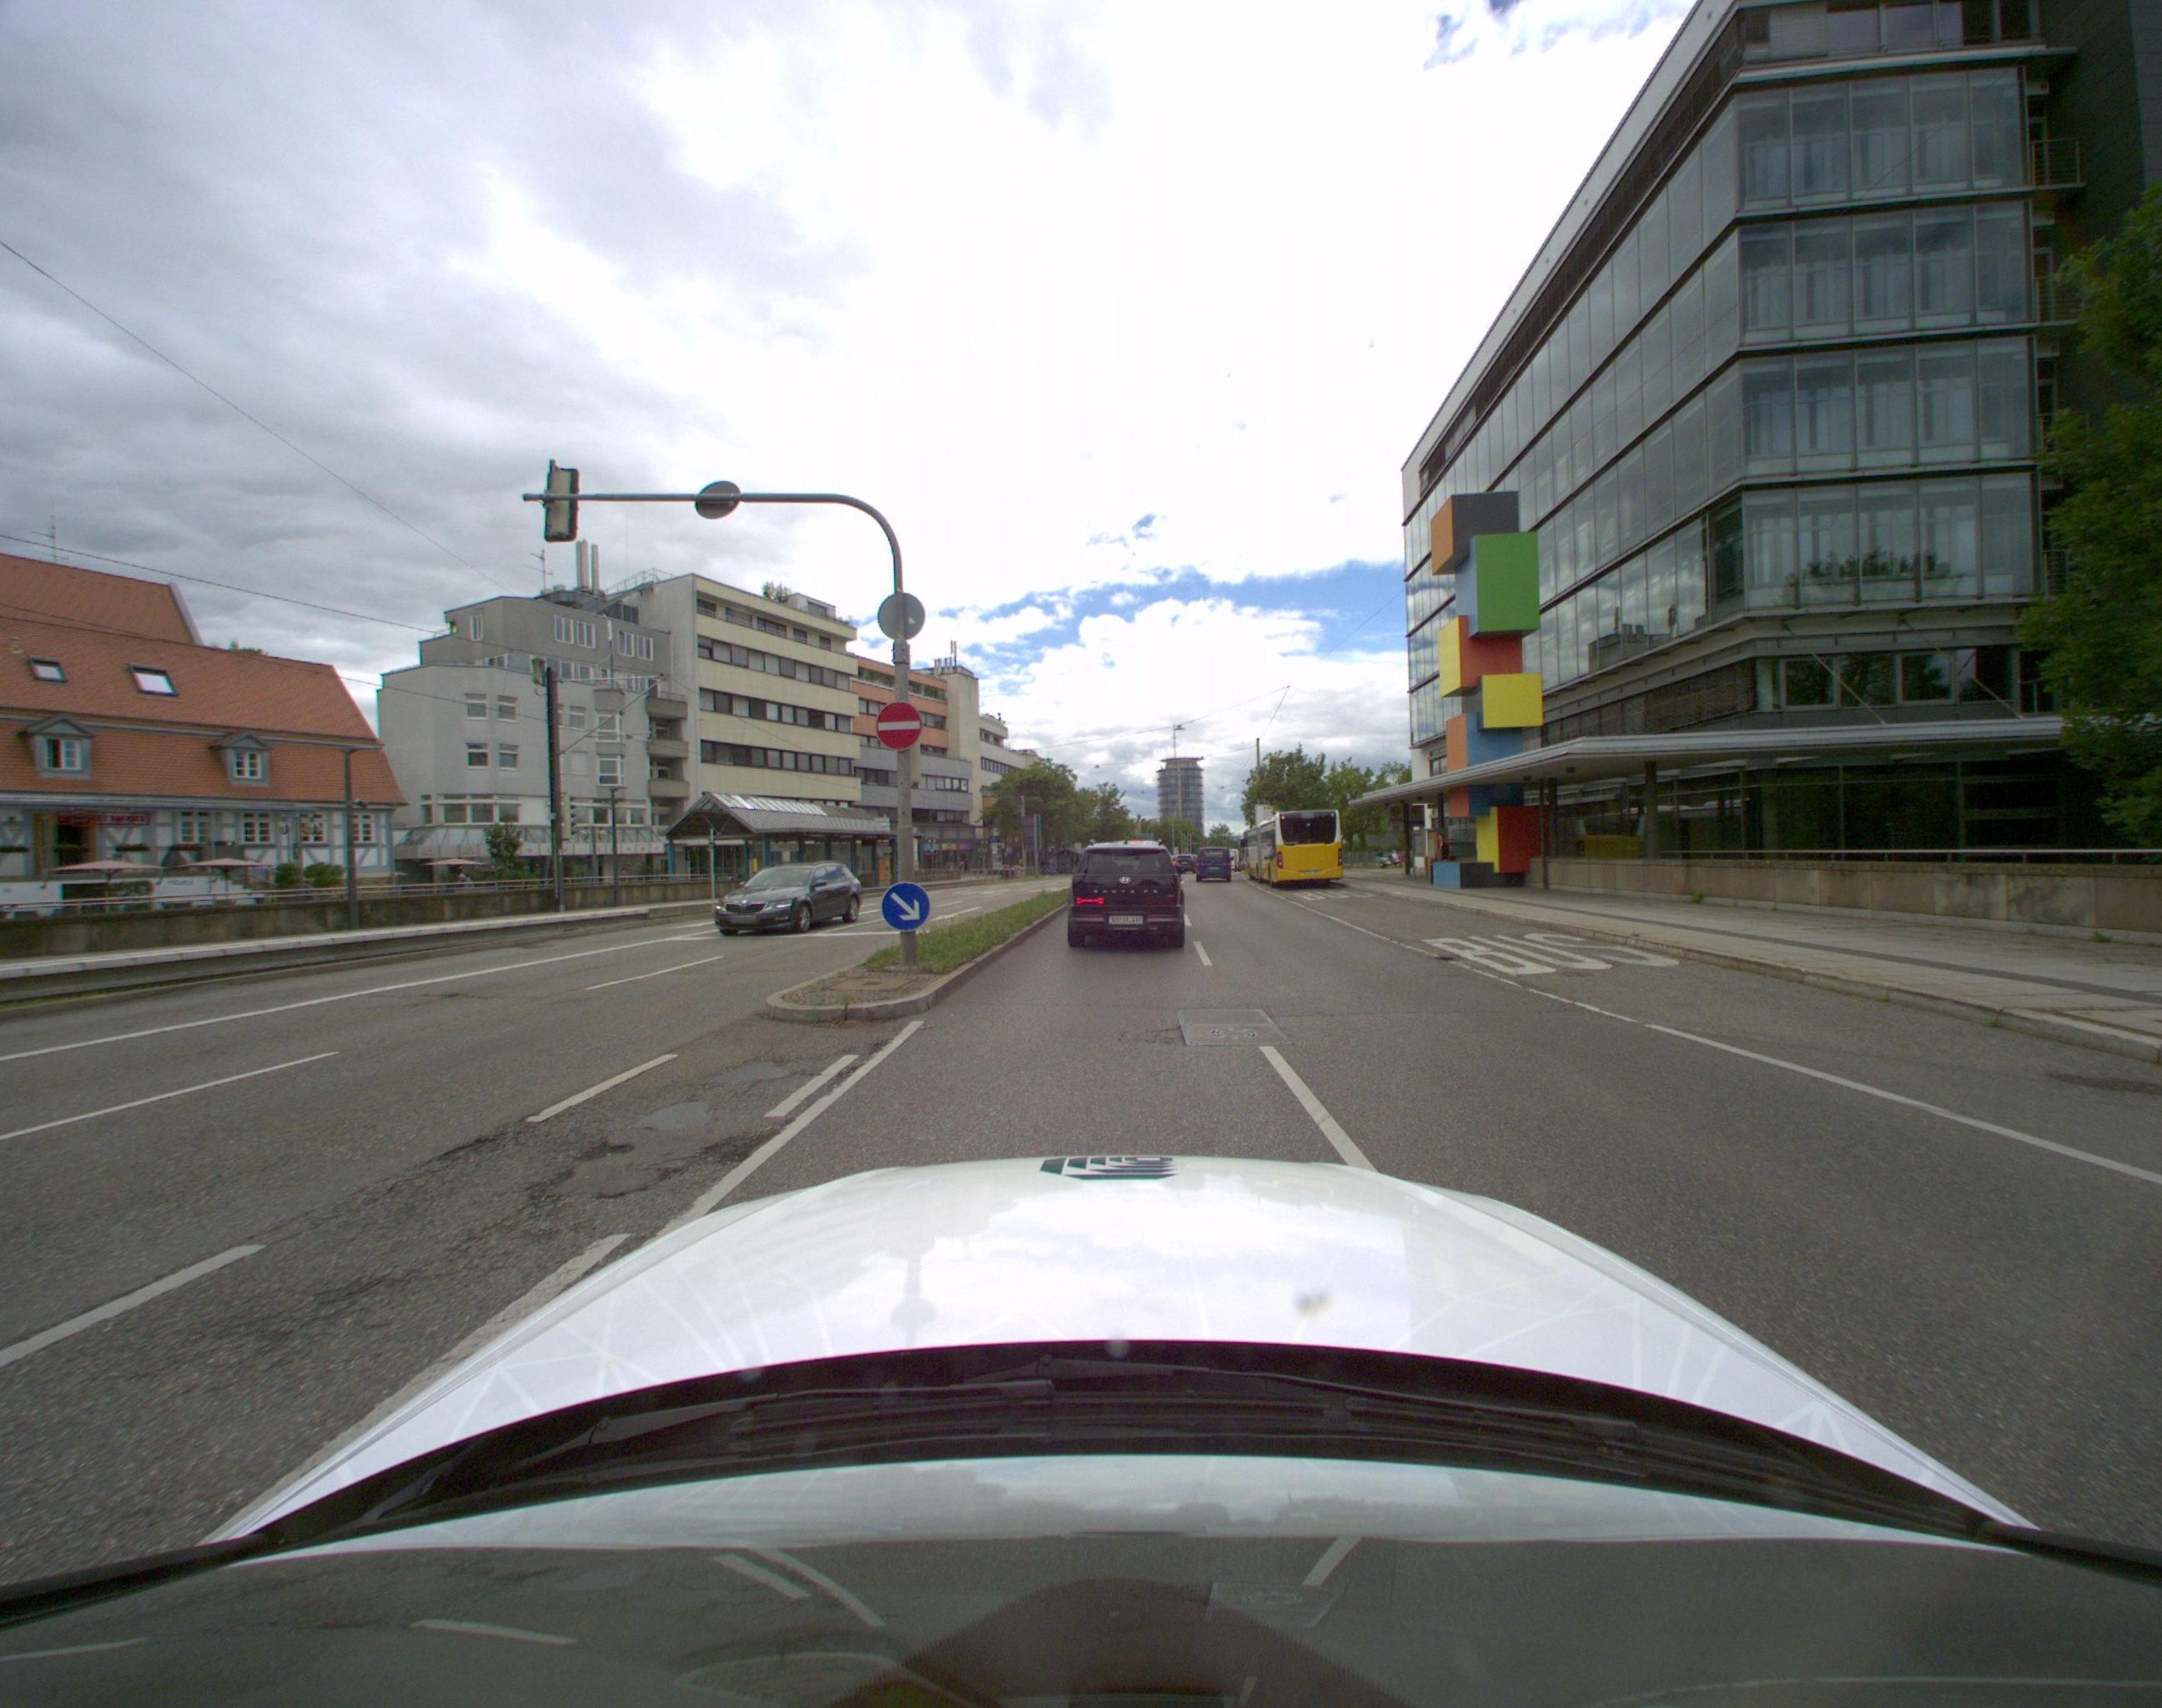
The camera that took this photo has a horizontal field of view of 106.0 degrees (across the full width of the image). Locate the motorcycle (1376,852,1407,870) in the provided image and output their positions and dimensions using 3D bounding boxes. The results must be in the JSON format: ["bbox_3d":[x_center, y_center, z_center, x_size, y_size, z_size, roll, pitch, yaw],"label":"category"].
[{"bbox_3d":[19.376,0.448,50.884,0.637,1.070,1.761,-2,0,-32],"label":"motorcycle"}]

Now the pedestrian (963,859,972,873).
[{"bbox_3d":[-13.118,1.399,94.200,0.724,1.673,0.585,-2,0,27],"label":"pedestrian"}]

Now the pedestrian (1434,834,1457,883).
[{"bbox_3d":[12.704,0.153,28.401,0.521,1.673,0.734,-2,0,7],"label":"pedestrian"}]

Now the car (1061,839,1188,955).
[{"bbox_3d":[0.839,0.617,14.475,1.893,1.731,4.452,0,1,5],"label":"car"}]

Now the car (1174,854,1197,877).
[{"bbox_3d":[9.001,0.976,70.211,1.892,1.859,4.719,0,1,7],"label":"car"}]

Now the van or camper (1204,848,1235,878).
[{"bbox_3d":[9.729,0.599,57.440,1.982,1.917,4.420,-1,1,8],"label":"van or camper"}]

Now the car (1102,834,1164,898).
[{"bbox_3d":[1.782,0.328,27.554,1.893,1.968,4.641,0,1,4],"label":"car"}]

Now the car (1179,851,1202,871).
[{"bbox_3d":[11.000,0.697,81.531,1.889,1.834,4.725,0,1,12],"label":"car"}]

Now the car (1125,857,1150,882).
[{"bbox_3d":[4.653,1.239,66.566,1.893,1.929,4.716,0,1,5],"label":"car"}]

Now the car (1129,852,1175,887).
[{"bbox_3d":[3.338,0.699,39.196,1.895,1.542,4.710,0,1,1],"label":"car"}]

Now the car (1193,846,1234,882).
[{"bbox_3d":[7.254,0.488,45.086,1.893,1.859,4.716,0,1,5],"label":"car"}]

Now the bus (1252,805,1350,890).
[{"bbox_3d":[9.381,-0.234,35.832,2.949,3.116,9.265,-3,0,8],"label":"bus"}]

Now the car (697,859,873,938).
[{"bbox_3d":[-6.302,0.876,18.004,1.789,1.455,4.619,-2,0,5],"label":"car"}]

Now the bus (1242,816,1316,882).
[{"bbox_3d":[10.752,-0.247,45.269,2.935,3.111,9.999,-3,0,8],"label":"bus"}]

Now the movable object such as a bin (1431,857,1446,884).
[{"bbox_3d":[12.211,0.559,27.822,0.354,0.897,0.463,-2,0,7],"label":"movable object such as a bin"}]
